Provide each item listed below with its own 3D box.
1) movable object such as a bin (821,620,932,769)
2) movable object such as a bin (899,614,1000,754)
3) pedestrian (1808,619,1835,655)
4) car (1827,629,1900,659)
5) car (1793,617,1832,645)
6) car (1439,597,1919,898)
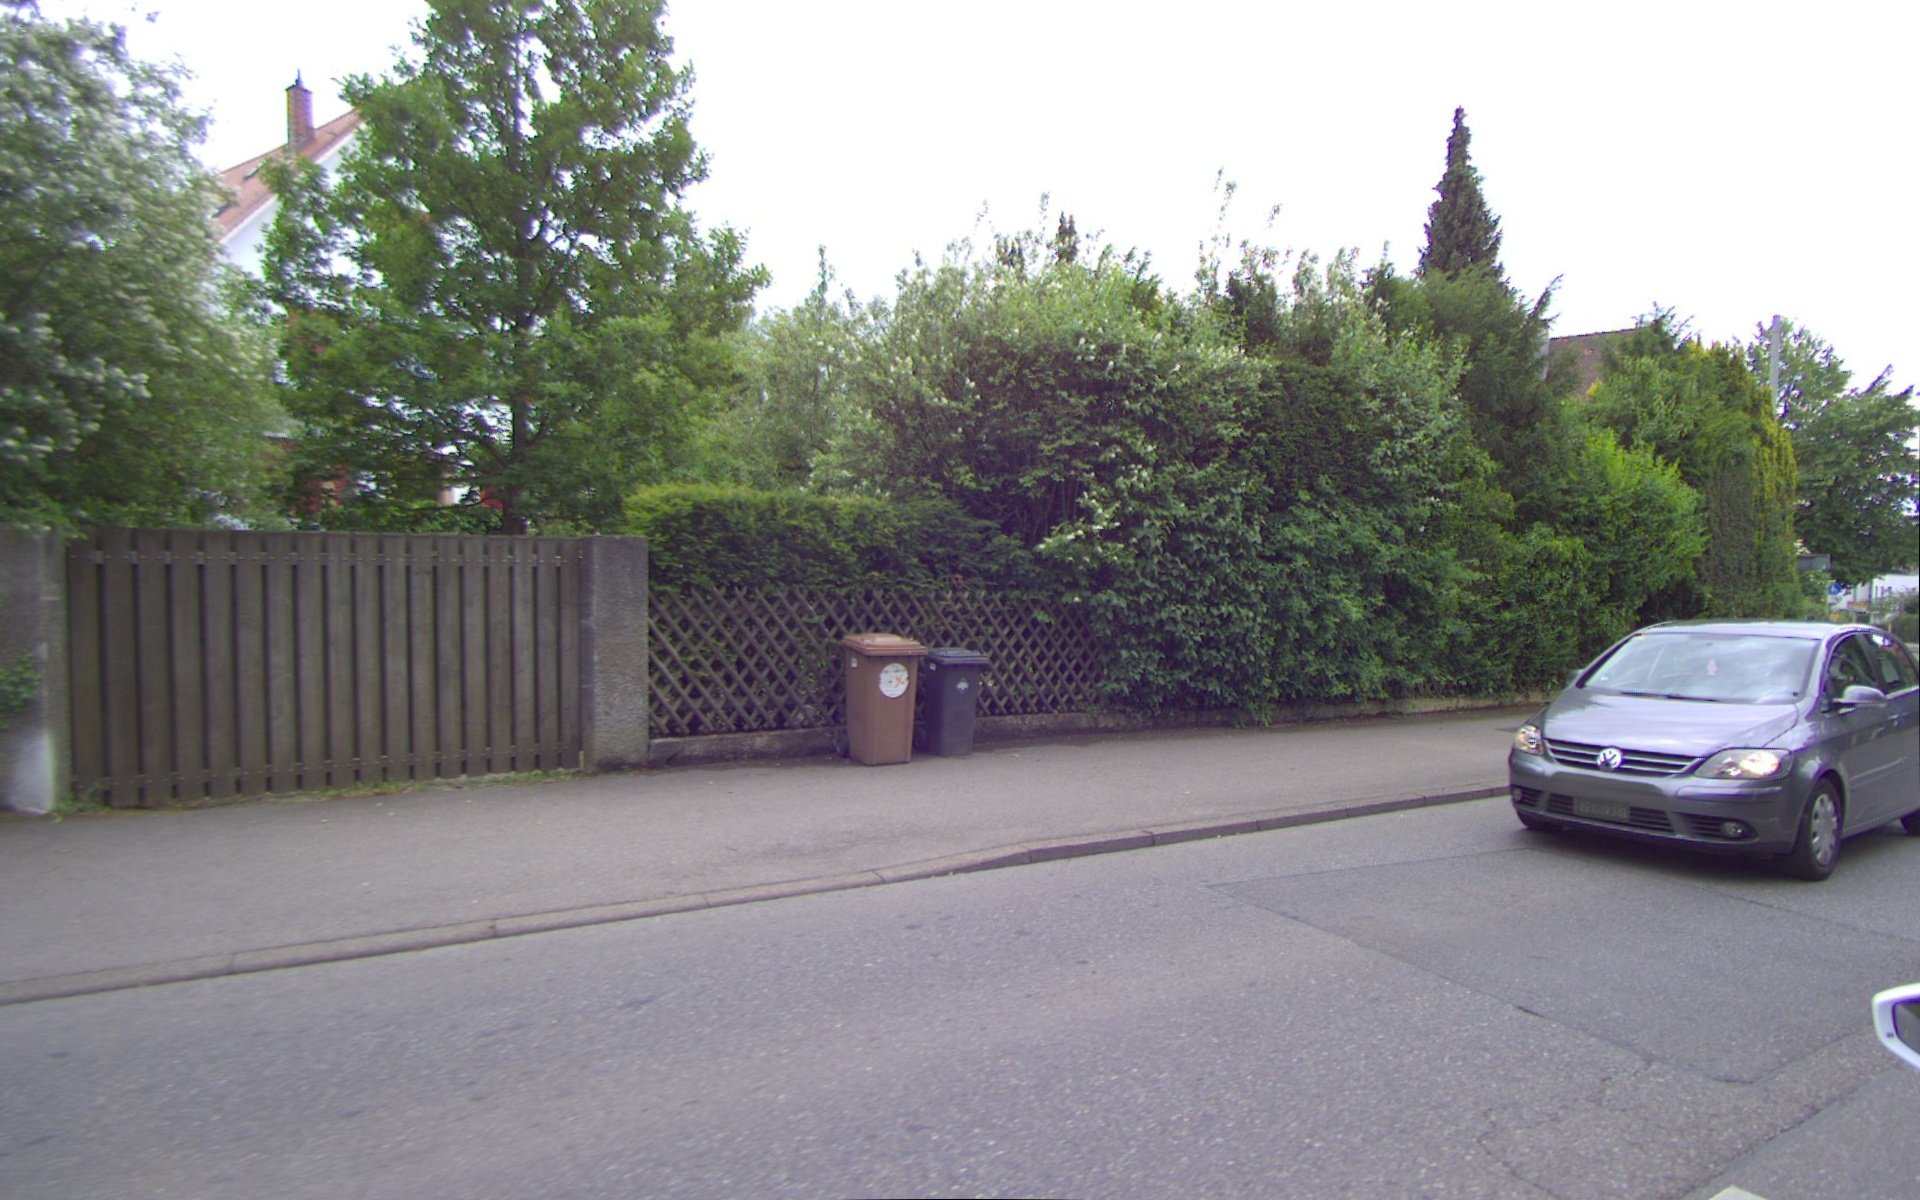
[{"bbox_3d":[-0.720,0.777,8.595,0.639,1.157,0.736,1,3,-32],"label":"movable object such as a bin"},{"bbox_3d":[-0.101,0.734,9.071,0.639,1.160,0.625,1,3,-32],"label":"movable object such as a bin"},{"bbox_3d":[41.340,1.777,48.216,0.618,1.684,0.920,2,0,17],"label":"pedestrian"},{"bbox_3d":[46.178,2.223,51.438,1.780,1.462,4.193,1,-1,28],"label":"car"},{"bbox_3d":[57.573,2.105,67.825,1.871,1.728,3.979,3,1,41],"label":"car"},{"bbox_3d":[5.572,0.849,7.427,3.960,1.639,1.981,1,-1,-35],"label":"car"}]
